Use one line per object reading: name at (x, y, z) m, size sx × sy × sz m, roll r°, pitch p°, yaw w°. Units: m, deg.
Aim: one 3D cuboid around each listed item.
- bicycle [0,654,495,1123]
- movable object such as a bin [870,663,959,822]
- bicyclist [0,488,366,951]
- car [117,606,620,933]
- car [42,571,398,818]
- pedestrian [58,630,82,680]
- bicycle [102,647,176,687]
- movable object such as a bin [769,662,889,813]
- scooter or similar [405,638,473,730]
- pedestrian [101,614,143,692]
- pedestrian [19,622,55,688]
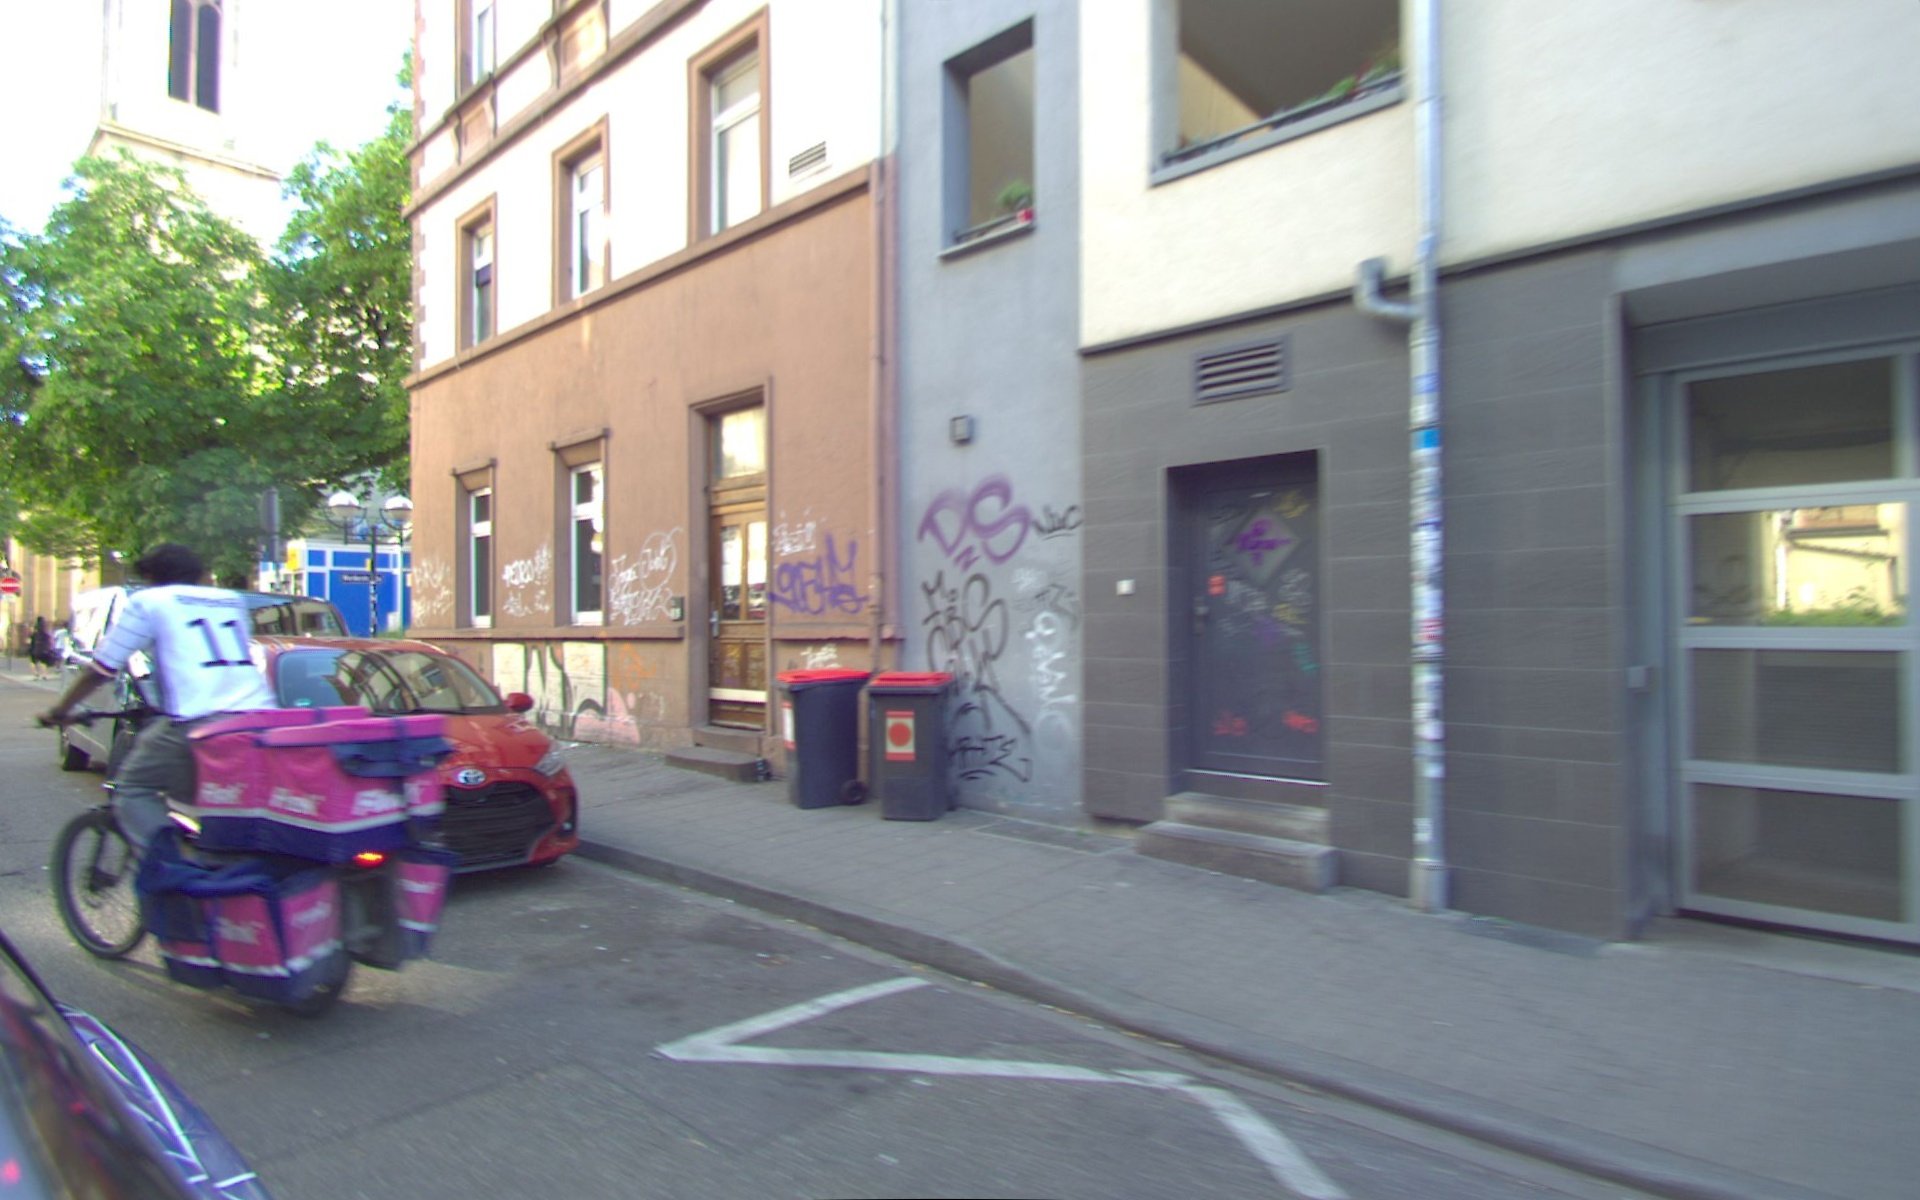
bicycle at (-3.046, 0.899, 4.103) m, size 2.550 × 1.324 × 0.969 m, roll -2°, pitch -3°, yaw 36°
movable object such as a bin at (-0.326, 1.028, 7.521) m, size 0.501 × 1.075 × 0.728 m, roll -1°, pitch 0°, yaw 10°
bicyclist at (-3.253, 0.447, 4.269) m, size 0.951 × 1.640 × 0.942 m, roll -1°, pitch -4°, yaw 36°
car at (-4.079, 0.868, 6.720) m, size 3.868 × 1.533 × 1.732 m, roll -1°, pitch -4°, yaw 42°
car at (-7.754, 0.790, 10.338) m, size 5.297 × 1.893 × 1.998 m, roll -2°, pitch -1°, yaw 43°
pedestrian at (-28.895, 1.770, 32.863) m, size 0.714 × 1.605 × 0.474 m, roll -1°, pitch 0°, yaw 39°
bicycle at (-24.155, 1.955, 29.796) m, size 0.346 × 1.073 × 1.672 m, roll -1°, pitch 0°, yaw 40°
movable object such as a bin at (-1.048, 1.057, 8.039) m, size 0.748 × 1.075 × 0.653 m, roll -1°, pitch 0°, yaw -29°
scooter or similar at (-7.250, 1.142, 14.053) m, size 1.391 × 1.226 × 0.344 m, roll -2°, pitch -3°, yaw 42°
pedestrian at (-20.317, 1.265, 24.541) m, size 0.697 × 1.847 × 0.640 m, roll -1°, pitch 1°, yaw 41°
pedestrian at (-27.170, 1.598, 29.782) m, size 0.720 × 1.887 × 0.709 m, roll -1°, pitch 0°, yaw 41°
